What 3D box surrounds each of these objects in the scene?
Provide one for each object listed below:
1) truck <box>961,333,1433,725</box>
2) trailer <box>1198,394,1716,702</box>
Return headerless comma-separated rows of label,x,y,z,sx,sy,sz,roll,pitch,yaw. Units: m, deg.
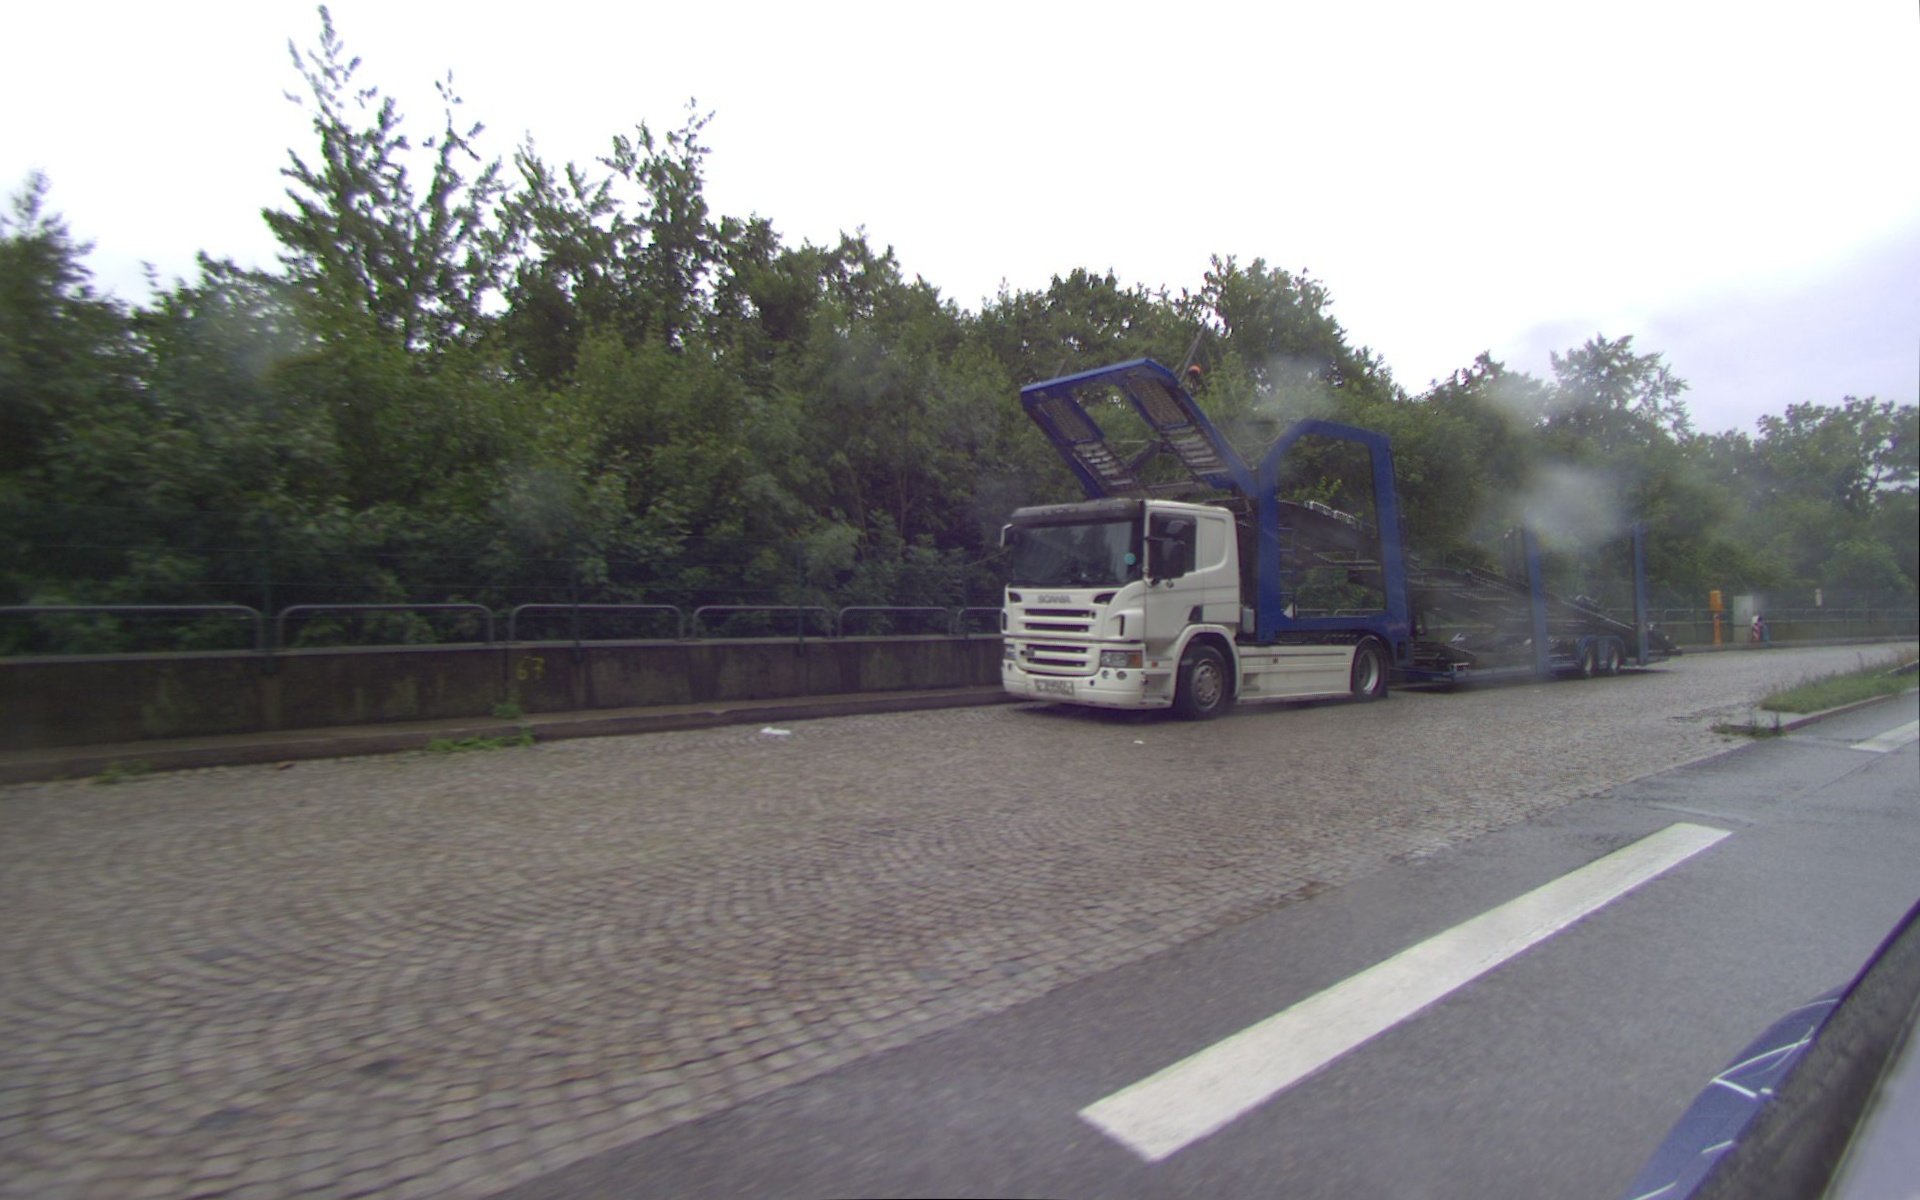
truck,3.577,-0.828,14.349,6.756,4.298,2.904,0,1,-38
trailer,10.502,-0.779,19.712,14.426,4.298,2.900,0,1,-38
